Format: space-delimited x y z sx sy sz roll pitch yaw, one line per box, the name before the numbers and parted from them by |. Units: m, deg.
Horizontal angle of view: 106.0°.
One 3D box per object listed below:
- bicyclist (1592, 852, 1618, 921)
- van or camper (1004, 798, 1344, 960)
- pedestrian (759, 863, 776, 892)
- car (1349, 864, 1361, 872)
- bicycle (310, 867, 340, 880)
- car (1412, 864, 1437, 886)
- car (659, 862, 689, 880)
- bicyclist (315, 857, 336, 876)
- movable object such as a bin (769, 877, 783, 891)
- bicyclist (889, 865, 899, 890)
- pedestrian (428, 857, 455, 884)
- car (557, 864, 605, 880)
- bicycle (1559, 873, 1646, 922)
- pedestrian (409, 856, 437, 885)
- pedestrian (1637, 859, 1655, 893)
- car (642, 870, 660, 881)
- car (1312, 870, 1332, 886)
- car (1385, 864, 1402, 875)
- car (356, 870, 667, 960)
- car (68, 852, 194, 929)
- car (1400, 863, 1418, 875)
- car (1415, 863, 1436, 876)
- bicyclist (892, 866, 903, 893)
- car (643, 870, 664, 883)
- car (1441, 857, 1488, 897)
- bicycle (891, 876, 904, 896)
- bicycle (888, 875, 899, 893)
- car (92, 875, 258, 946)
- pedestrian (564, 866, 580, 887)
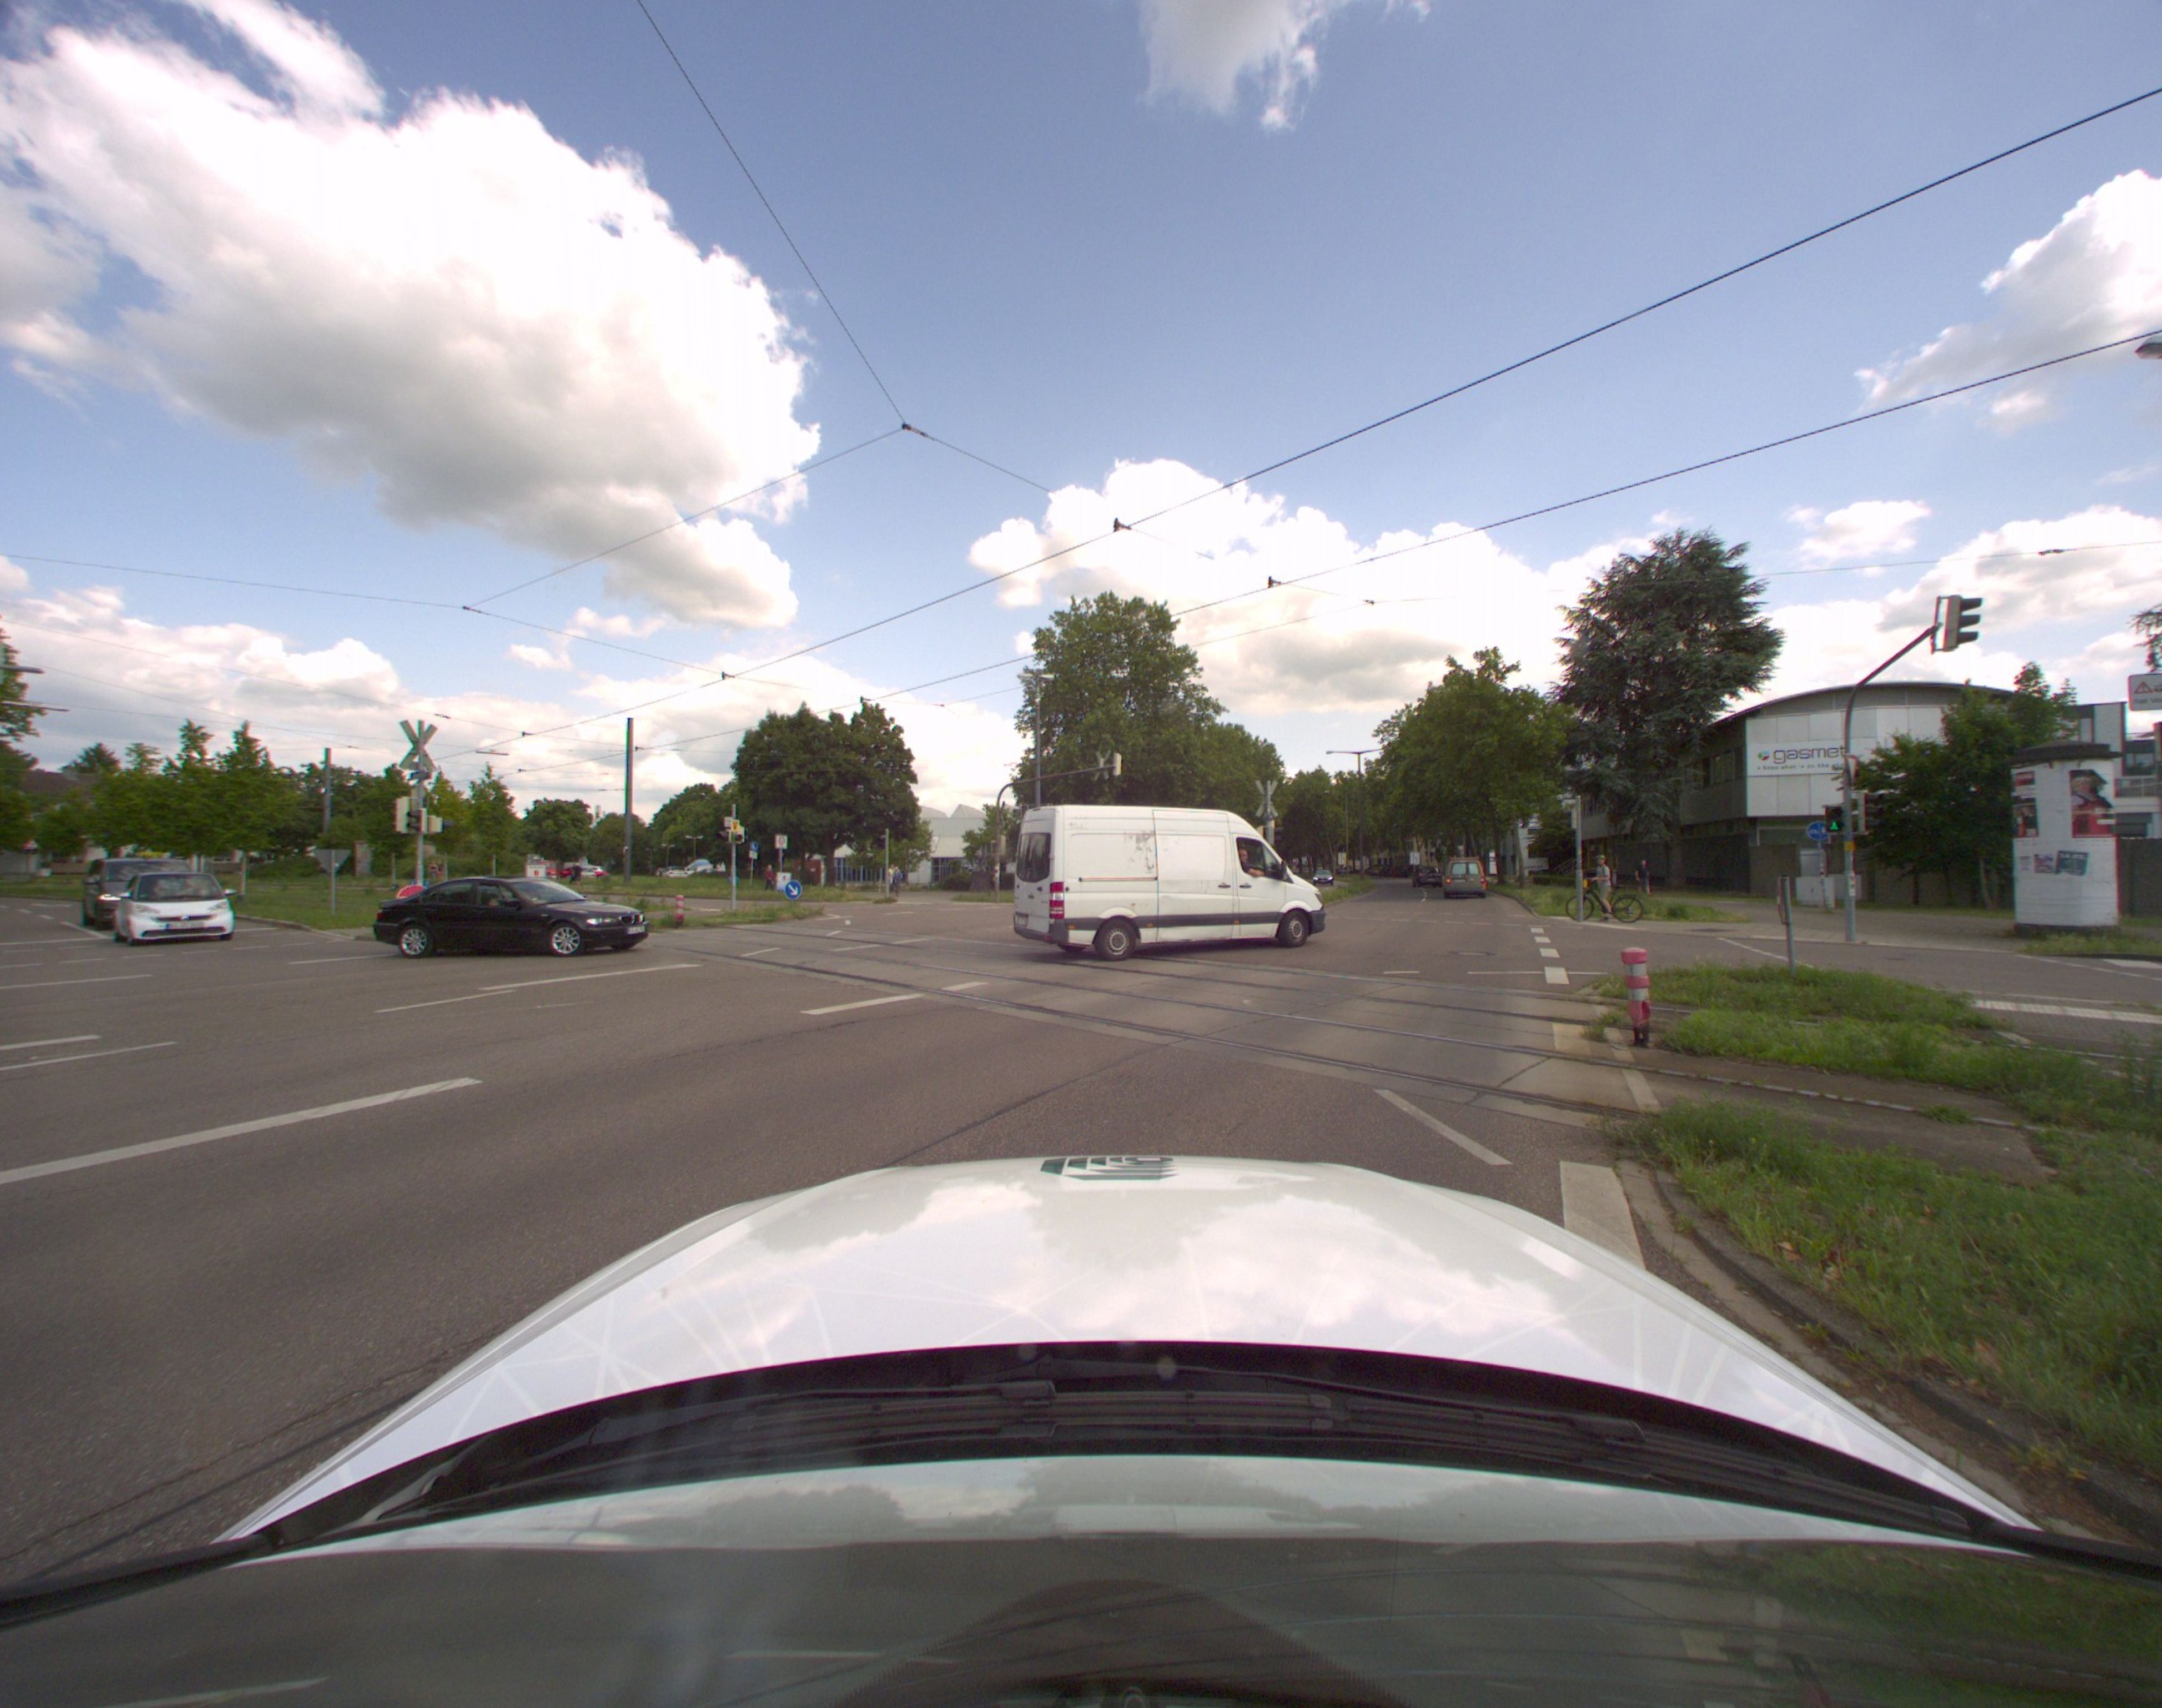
bicyclist | 14.107 0.859 21.917 0.538 1.809 0.544 -1 1 35
van or camper | 1.770 0.416 14.891 6.044 2.524 1.966 0 -1 -24
pedestrian | -18.053 1.346 46.950 0.631 1.644 0.616 -1 1 17
car | 56.072 2.876 166.771 1.979 1.574 4.016 -1 1 14
bicycle | -60.207 1.527 64.890 1.961 1.040 0.956 0 -1 20
car | 26.106 1.581 61.971 1.715 1.630 4.073 -1 -2 22
car | -38.339 1.608 76.654 2.007 1.640 4.345 0 -1 -33
bicyclist | -60.252 1.012 64.949 0.826 1.489 0.968 0 -1 22
movable object such as a bin | -17.521 1.730 46.798 0.455 0.811 0.581 -1 1 17
bicyclist | -11.766 1.465 51.235 0.487 1.554 0.552 1 -2 -19
pedestrian | -46.794 1.205 59.626 1.162 2.014 1.112 -1 -1 24
car | -50.391 1.791 82.117 4.014 1.530 1.979 0 -1 -33
bicycle | 14.048 1.152 21.969 1.927 1.235 0.544 -1 1 35
pedestrian | -47.292 1.184 58.538 1.162 2.014 1.113 -1 -1 25
pedestrian | 26.765 1.038 38.580 0.615 1.569 0.562 -1 1 25
car | -64.307 3.217 121.755 2.007 1.640 4.345 0 -1 -33
car | 22.114 2.216 74.785 1.644 1.271 3.787 -1 1 16
car | 48.719 2.404 127.162 1.979 1.574 4.016 -1 1 14
car | -10.147 1.064 14.694 4.432 1.431 1.814 -1 -1 5
car | -28.932 1.046 24.775 4.326 2.155 1.867 -1 -1 32
car | 47.797 2.202 118.714 1.979 1.574 4.016 -1 1 14
car | 45.155 2.030 106.870 1.979 1.574 4.016 -1 1 14
bicyclist | -10.735 1.478 47.674 0.485 1.554 0.555 1 -3 -7
car | -54.395 2.871 103.690 2.007 1.640 4.345 0 -1 -33
car | 18.100 1.048 38.609 1.861 1.800 4.394 -1 -1 23
bicycle | -10.750 1.862 47.674 0.560 1.130 1.377 1 -2 -6
bicycle | -11.789 1.865 51.276 0.562 1.130 1.371 0 -1 -19
car | -20.777 1.205 18.638 4.326 1.431 1.823 -1 -1 32
pedestrian | -34.092 1.503 54.552 0.742 1.354 0.655 -1 1 32
